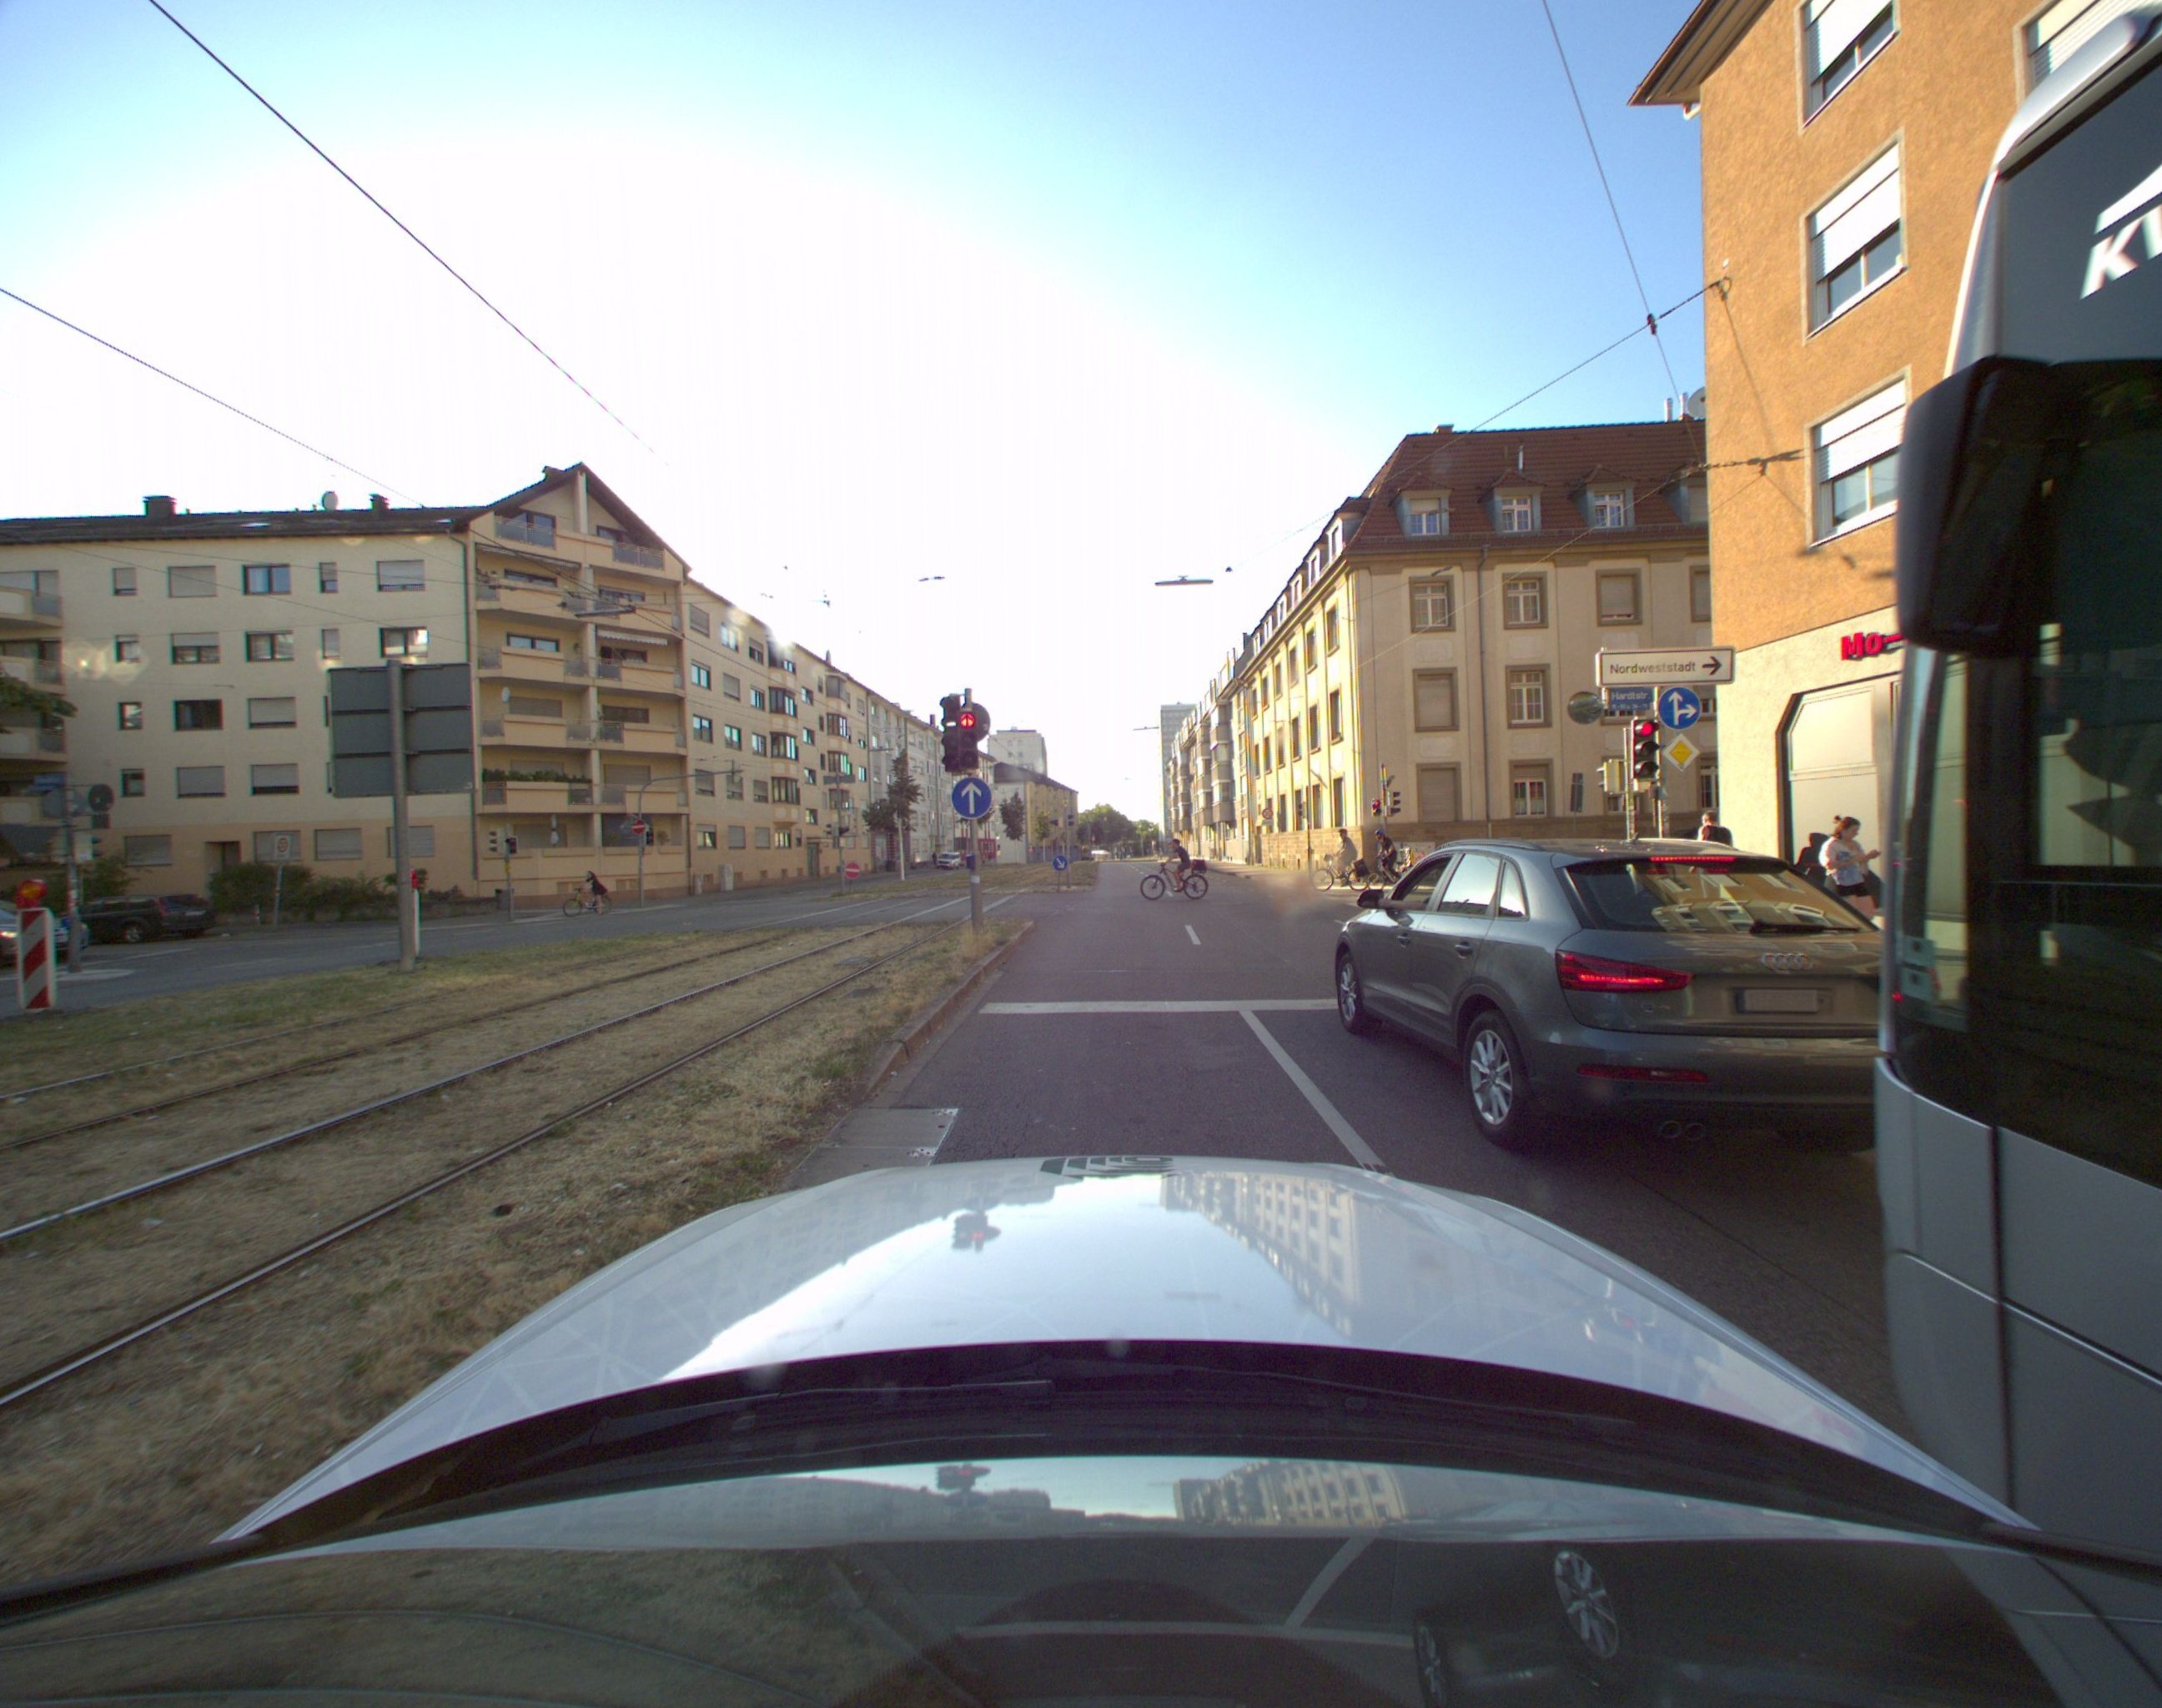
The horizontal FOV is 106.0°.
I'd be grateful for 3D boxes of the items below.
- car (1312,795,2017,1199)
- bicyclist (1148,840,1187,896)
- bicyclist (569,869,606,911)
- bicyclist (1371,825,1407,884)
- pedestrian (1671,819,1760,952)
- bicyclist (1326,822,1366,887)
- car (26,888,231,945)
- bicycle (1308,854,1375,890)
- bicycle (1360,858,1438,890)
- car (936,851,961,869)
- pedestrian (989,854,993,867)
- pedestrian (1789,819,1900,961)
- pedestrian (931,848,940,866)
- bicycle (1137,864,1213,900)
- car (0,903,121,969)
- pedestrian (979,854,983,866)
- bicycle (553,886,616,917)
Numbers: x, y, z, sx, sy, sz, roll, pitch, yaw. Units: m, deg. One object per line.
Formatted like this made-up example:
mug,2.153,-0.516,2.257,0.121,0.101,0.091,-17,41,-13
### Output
car,2.934,0.575,5.343,1.763,1.575,4.087,-2,0,2
bicyclist,2.449,0.381,23.093,0.902,1.526,0.646,-2,0,-8
bicyclist,-17.935,1.309,29.604,0.522,1.447,0.971,-2,0,32
bicyclist,9.299,0.016,24.614,0.791,1.753,0.720,0,-1,0
pedestrian,9.317,0.443,11.979,0.690,1.874,0.718,-2,0,2
bicyclist,8.356,0.009,25.705,0.957,1.988,0.672,-2,0,-1
car,-29.908,1.930,25.699,3.956,1.440,1.785,-3,0,-9
bicycle,8.219,0.555,25.753,1.938,1.094,0.575,-1,0,-1
bicycle,9.604,0.597,24.637,2.066,0.958,0.746,0,0,-1
car,-13.978,0.630,86.139,1.804,1.798,4.249,0,0,3
pedestrian,-12.287,0.875,111.117,0.493,1.658,0.409,-2,0,2
pedestrian,8.635,0.385,9.241,0.438,1.525,0.831,-2,0,2
pedestrian,-15.814,0.319,88.376,0.784,2.013,0.890,-2,0,-2
bicycle,2.660,0.789,23.127,1.977,0.894,0.784,-3,-1,-8
car,-26.347,2.007,19.527,4.106,1.388,1.761,-2,0,-9
pedestrian,-13.602,0.775,110.842,0.493,1.658,0.409,-2,0,2
bicycle,-17.962,1.712,29.508,0.522,0.984,1.895,-2,0,32
